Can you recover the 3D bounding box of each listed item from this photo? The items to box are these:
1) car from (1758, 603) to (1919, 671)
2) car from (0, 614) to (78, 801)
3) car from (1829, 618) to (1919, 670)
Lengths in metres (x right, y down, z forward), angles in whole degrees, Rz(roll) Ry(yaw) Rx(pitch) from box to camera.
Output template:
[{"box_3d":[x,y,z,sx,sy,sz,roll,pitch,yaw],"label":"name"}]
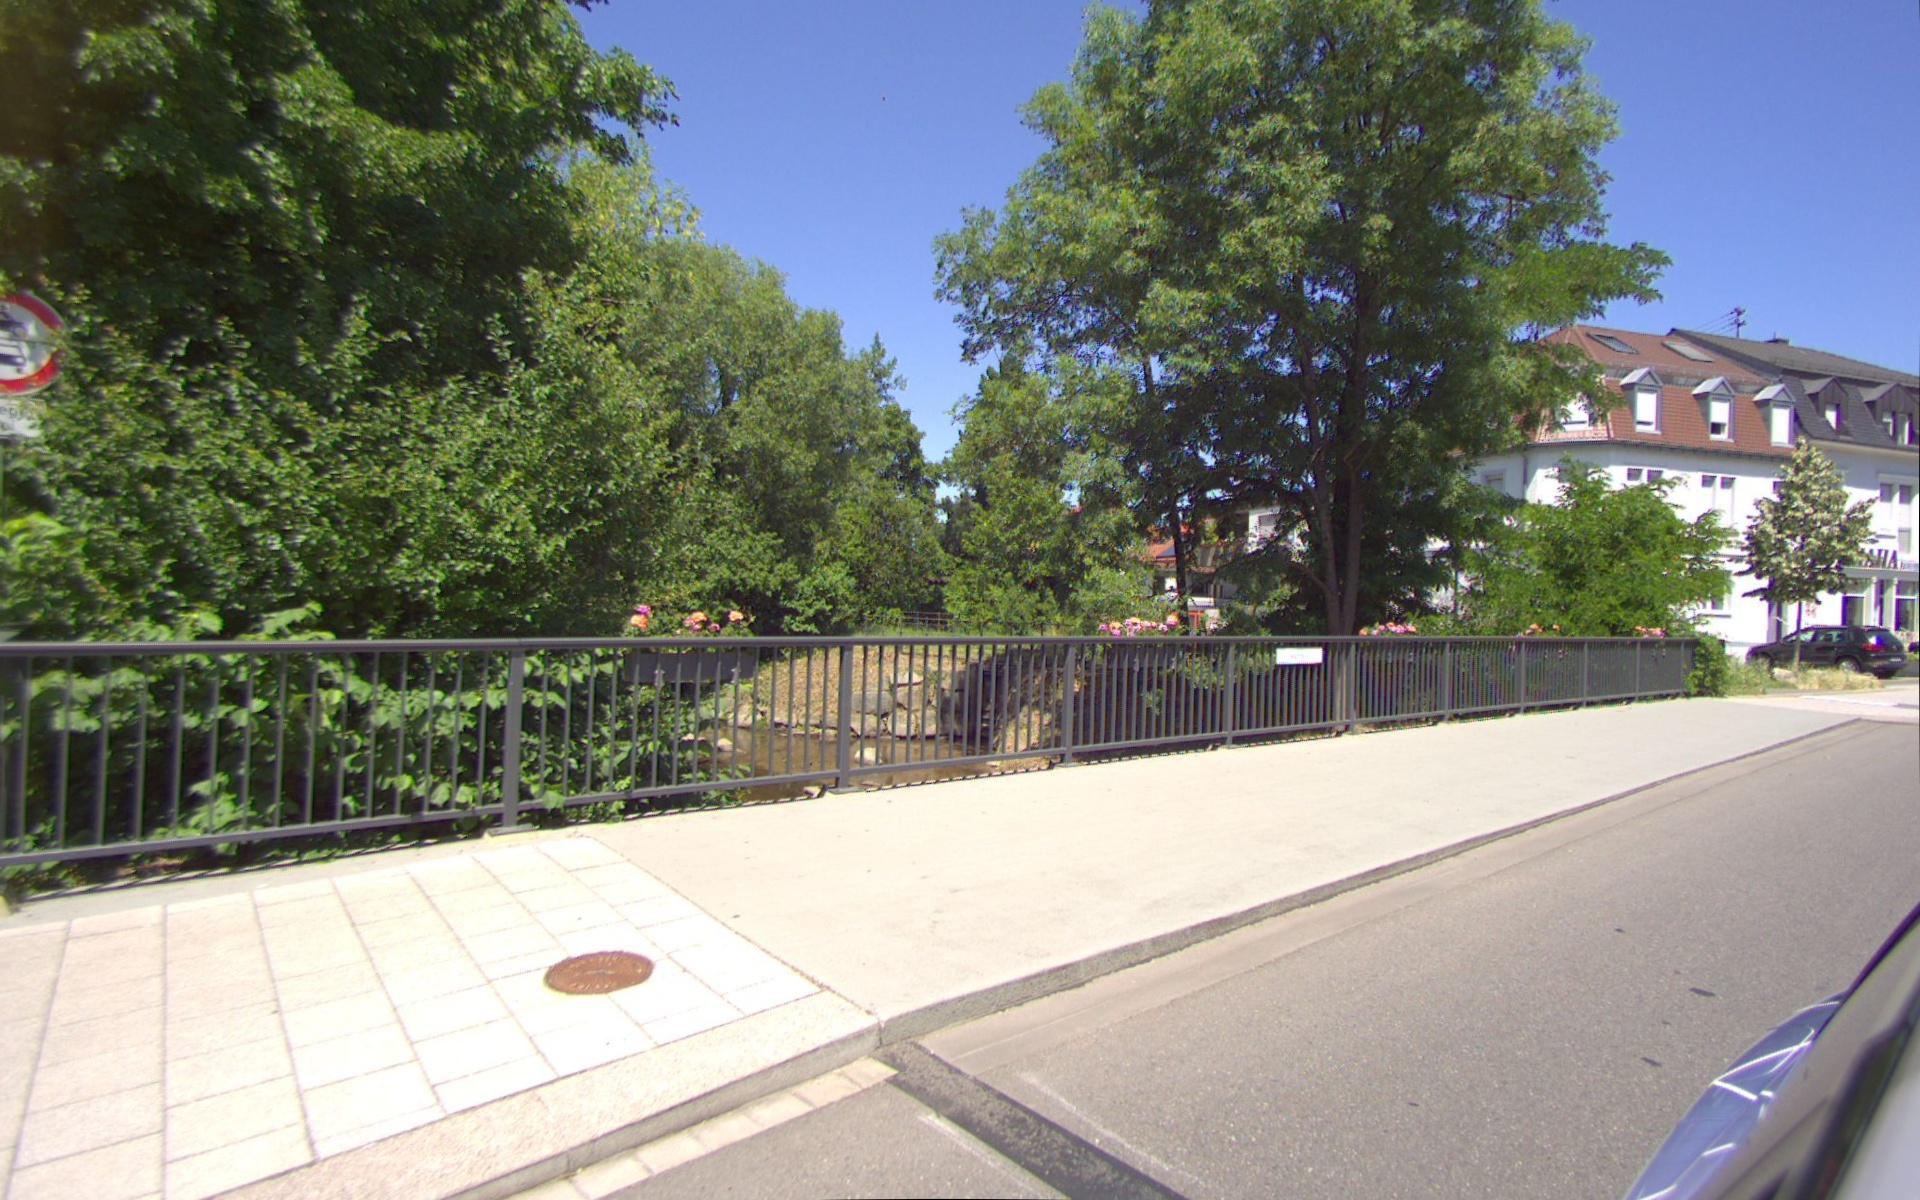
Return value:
[{"box_3d":[28.573,1.172,32.693,1.958,2.039,4.007,1,-1,-14],"label":"car"},{"box_3d":[-8.773,0.876,8.346,1.613,1.486,4.405,1,-3,-33],"label":"car"},{"box_3d":[31.826,1.458,33.682,1.958,1.692,4.007,2,-2,-14],"label":"car"}]
